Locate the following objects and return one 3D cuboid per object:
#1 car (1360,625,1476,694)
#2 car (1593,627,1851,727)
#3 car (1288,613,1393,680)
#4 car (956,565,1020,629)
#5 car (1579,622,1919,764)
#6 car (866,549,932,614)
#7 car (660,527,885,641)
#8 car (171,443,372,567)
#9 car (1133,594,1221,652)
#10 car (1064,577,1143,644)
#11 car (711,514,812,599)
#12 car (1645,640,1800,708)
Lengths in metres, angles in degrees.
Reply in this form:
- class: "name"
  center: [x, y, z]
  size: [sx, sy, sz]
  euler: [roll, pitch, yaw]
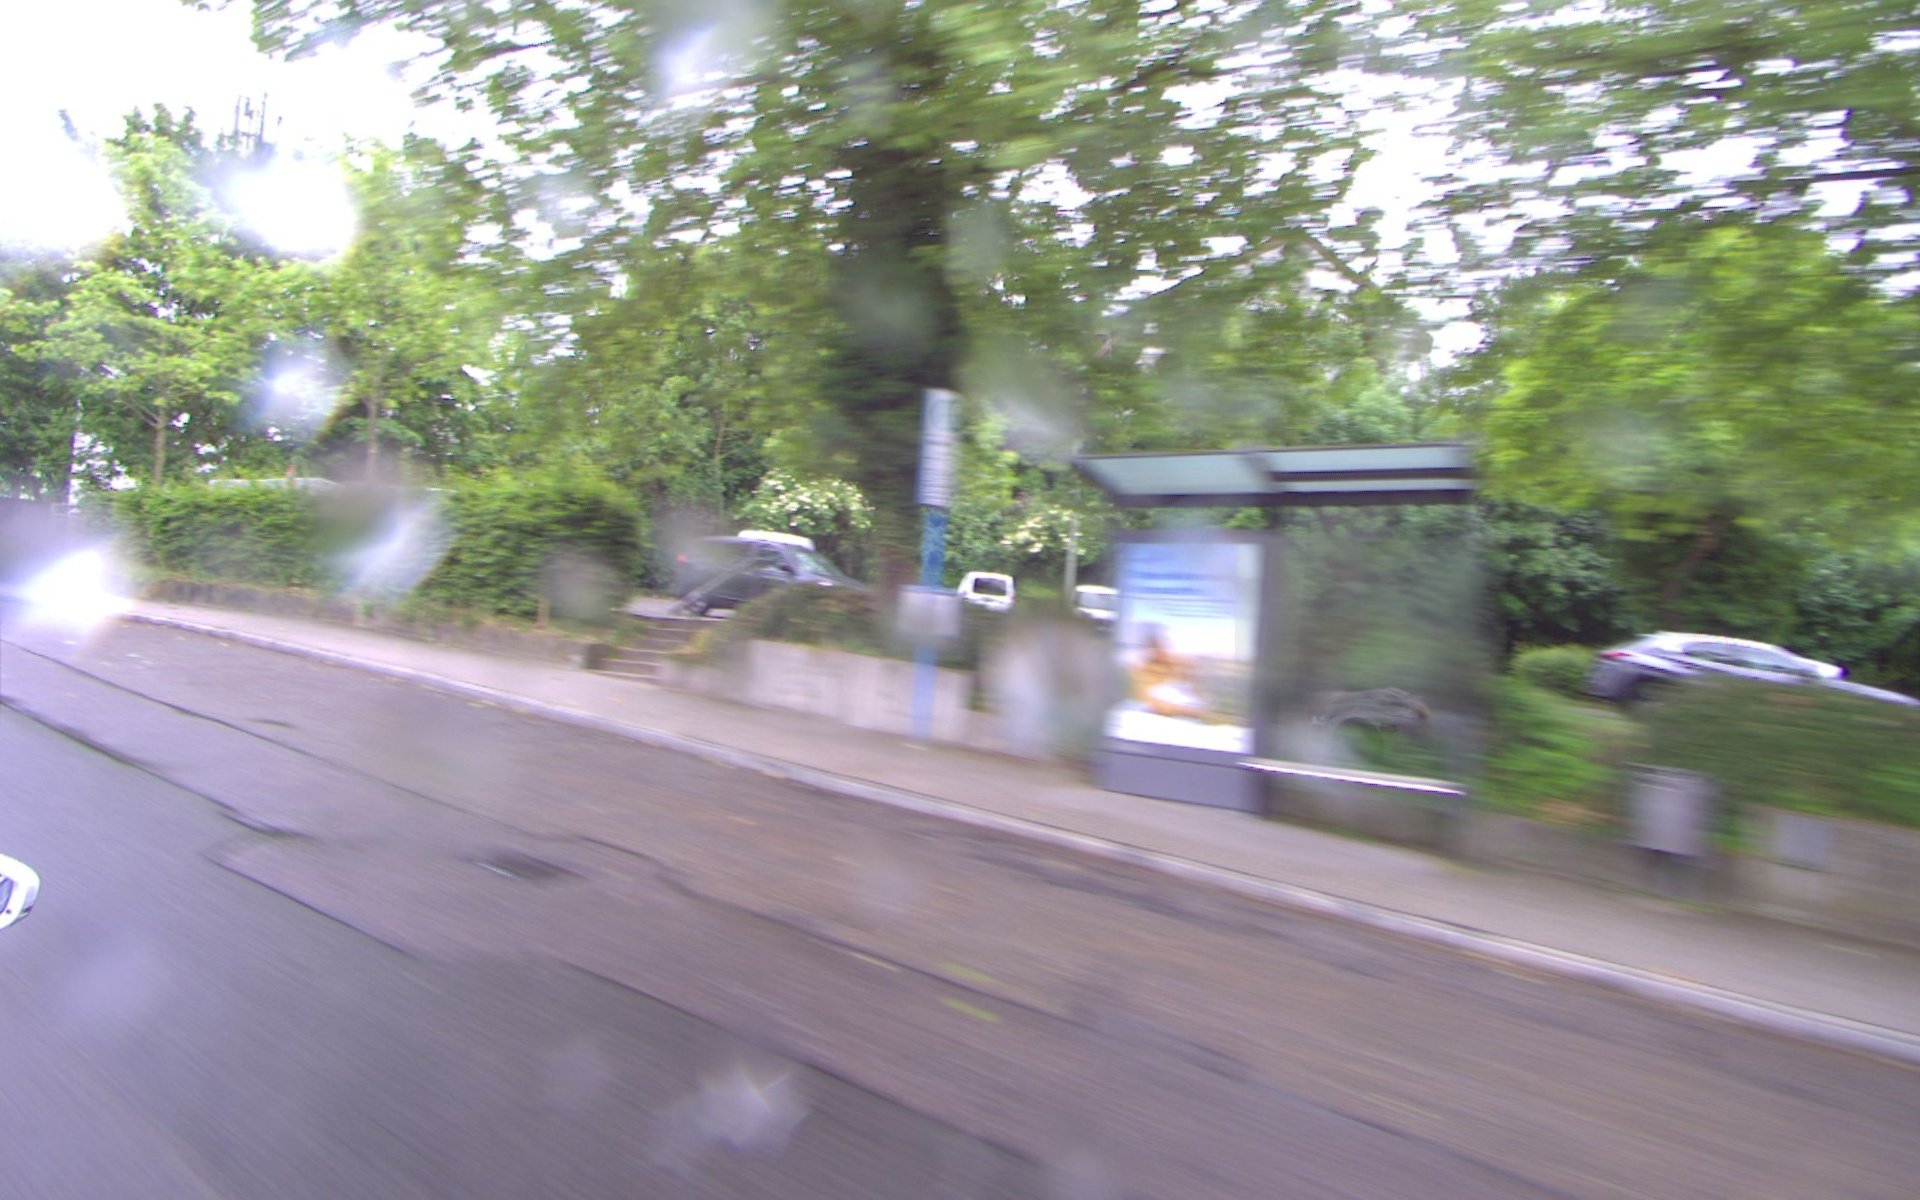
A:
- class: "car"
  center: [14.648, 1.900, 32.452]
  size: [1.770, 1.789, 4.184]
  euler: [9, -2, 3]
- class: "car"
  center: [15.315, 1.561, 20.472]
  size: [3.712, 1.350, 1.744]
  euler: [9, -2, 22]
- class: "car"
  center: [12.295, 1.518, 32.786]
  size: [1.770, 1.789, 4.184]
  euler: [9, -2, 3]
- class: "car"
  center: [0.877, -0.038, 33.651]
  size: [1.771, 1.683, 4.182]
  euler: [9, -2, 0]
- class: "car"
  center: [12.460, 1.452, 16.082]
  size: [4.099, 1.469, 1.901]
  euler: [8, -2, 29]
- class: "car"
  center: [-1.972, -0.555, 33.697]
  size: [1.771, 1.683, 4.182]
  euler: [9, -2, 0]
- class: "car"
  center: [-3.844, -0.336, 20.585]
  size: [4.098, 1.601, 1.827]
  euler: [8, -2, 27]
- class: "car"
  center: [-16.293, -2.245, 23.808]
  size: [4.060, 2.253, 1.999]
  euler: [8, 0, 27]
- class: "car"
  center: [7.009, 0.793, 32.902]
  size: [1.771, 1.493, 4.182]
  euler: [9, -2, 0]
- class: "car"
  center: [4.656, 0.409, 33.202]
  size: [1.771, 1.789, 4.182]
  euler: [9, -2, 0]
- class: "car"
  center: [-6.298, -1.291, 32.553]
  size: [1.963, 2.036, 5.208]
  euler: [9, -2, 0]
- class: "car"
  center: [24.576, 2.342, 32.643]
  size: [1.770, 1.789, 4.184]
  euler: [9, -2, 3]
